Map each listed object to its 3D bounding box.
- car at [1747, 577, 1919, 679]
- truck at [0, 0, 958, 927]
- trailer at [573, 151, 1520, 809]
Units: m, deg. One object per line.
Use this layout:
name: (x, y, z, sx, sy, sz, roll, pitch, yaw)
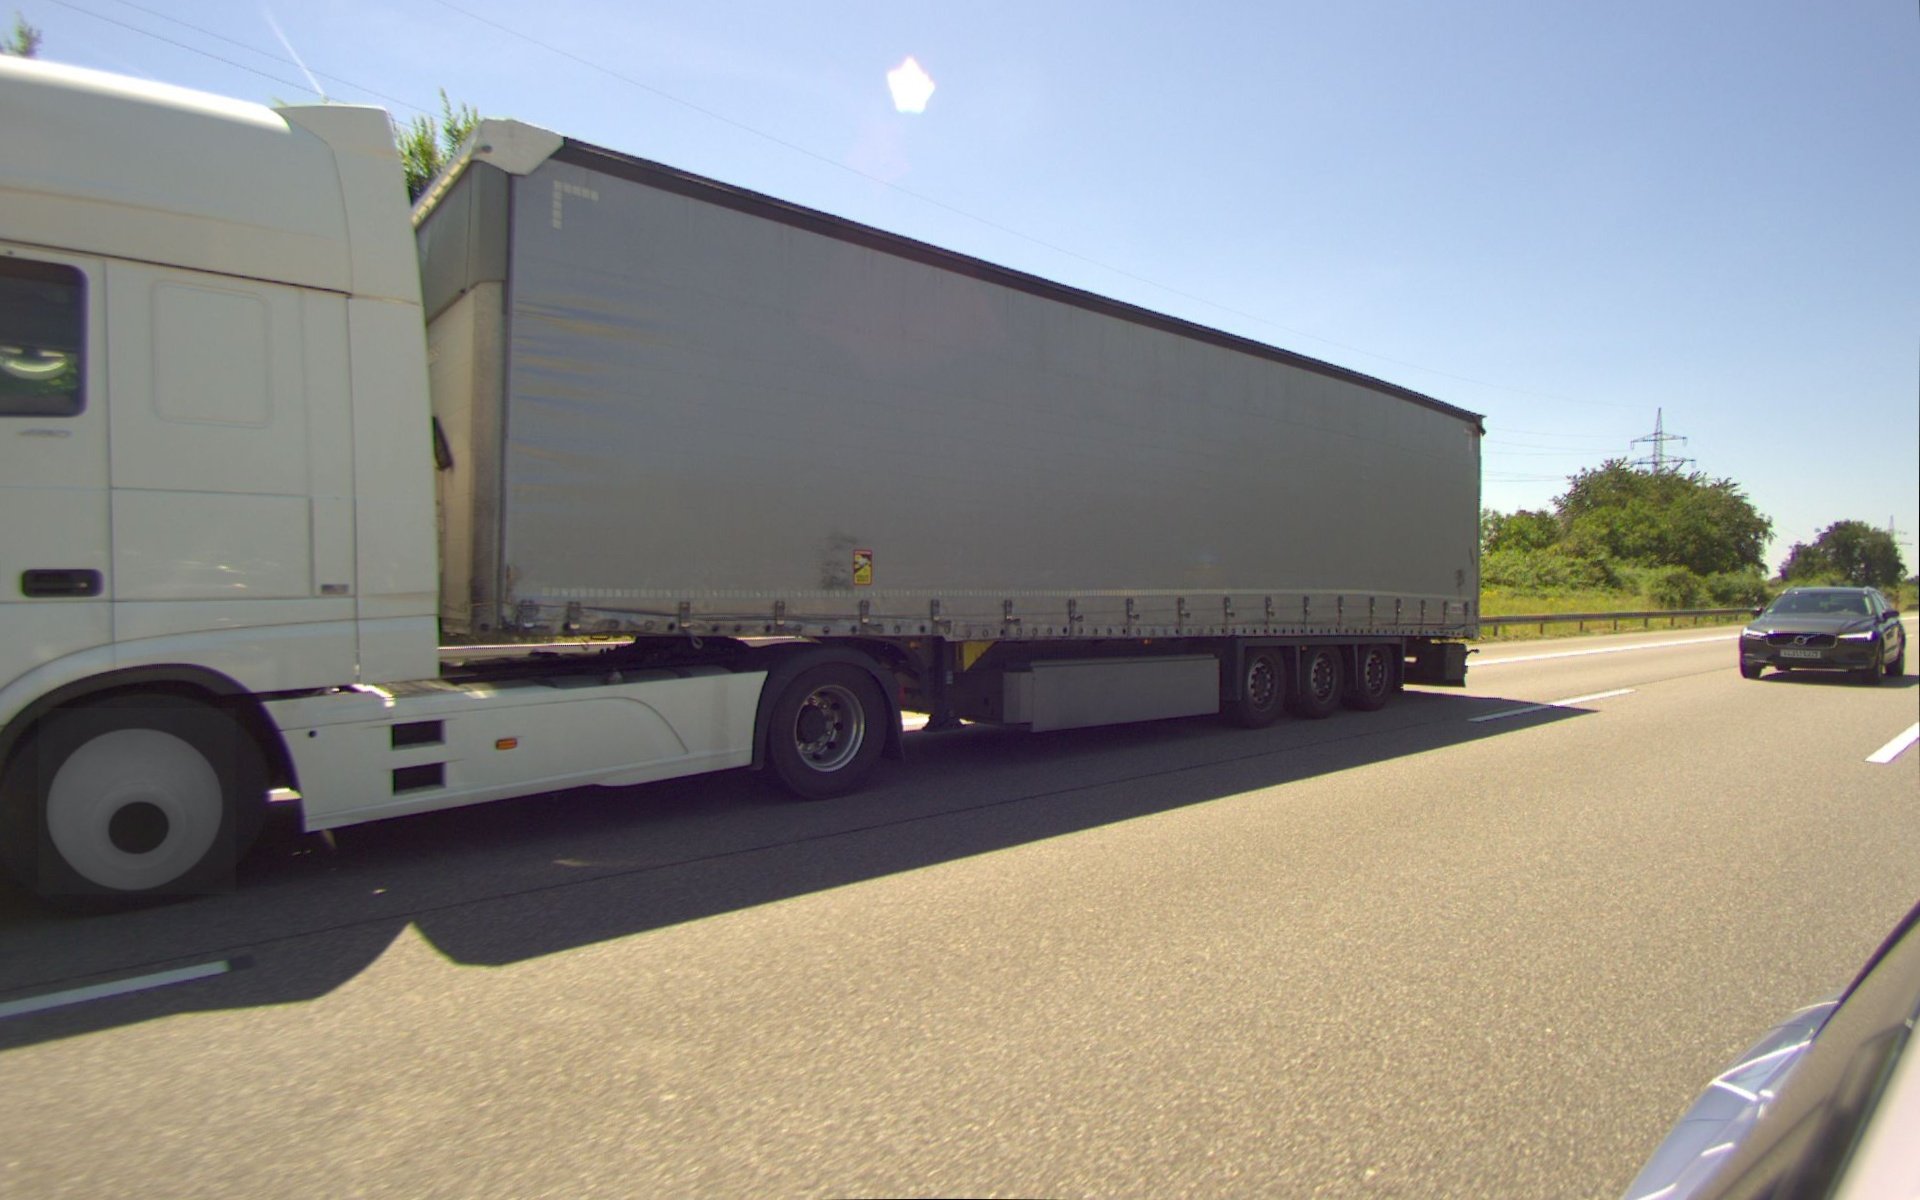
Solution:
car: (15.858, 0.427, 18.287, 3.934, 1.643, 1.877, 0, 1, -41)
truck: (-3.169, -0.764, 6.730, 6.018, 4.171, 2.741, 0, 1, -41)
trailer: (2.491, -0.829, 11.690, 12.893, 4.158, 2.741, -1, 1, -41)
